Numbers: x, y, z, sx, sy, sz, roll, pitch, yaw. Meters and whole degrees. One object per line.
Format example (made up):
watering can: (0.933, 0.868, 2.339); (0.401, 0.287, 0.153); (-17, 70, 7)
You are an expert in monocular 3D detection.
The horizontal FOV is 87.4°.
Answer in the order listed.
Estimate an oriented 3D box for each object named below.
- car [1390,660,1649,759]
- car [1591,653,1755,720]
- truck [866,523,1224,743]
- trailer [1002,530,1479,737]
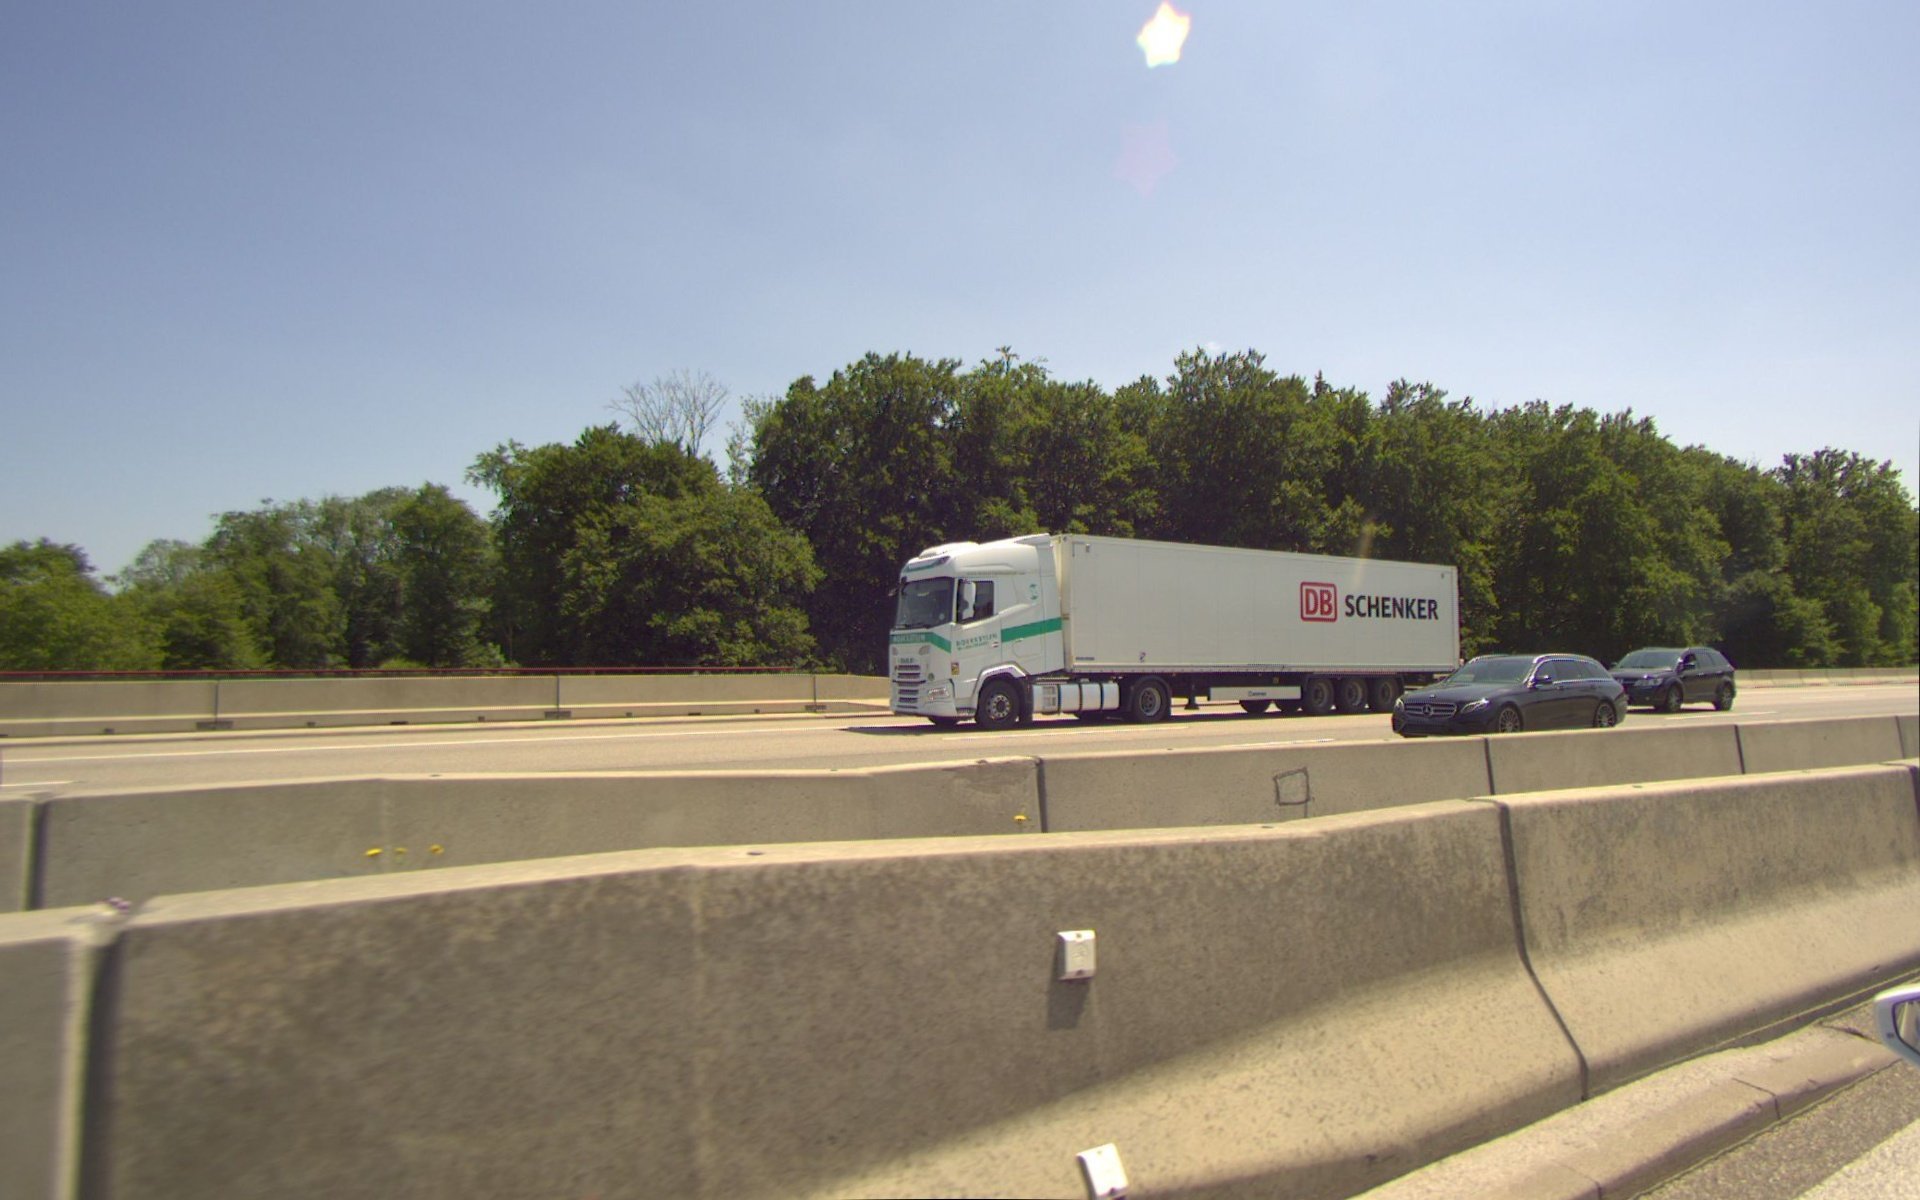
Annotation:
car: (9.765, 1.814, 17.432); (4.665, 1.500, 1.790); (2, -4, -31)
car: (19.647, 2.316, 27.632); (5.020, 1.664, 1.789); (2, -2, -31)
truck: (2.007, 0.806, 22.174); (7.786, 4.152, 2.703); (2, -4, -31)
trailer: (7.711, 0.966, 25.622); (14.195, 4.279, 2.630); (2, -4, -31)
